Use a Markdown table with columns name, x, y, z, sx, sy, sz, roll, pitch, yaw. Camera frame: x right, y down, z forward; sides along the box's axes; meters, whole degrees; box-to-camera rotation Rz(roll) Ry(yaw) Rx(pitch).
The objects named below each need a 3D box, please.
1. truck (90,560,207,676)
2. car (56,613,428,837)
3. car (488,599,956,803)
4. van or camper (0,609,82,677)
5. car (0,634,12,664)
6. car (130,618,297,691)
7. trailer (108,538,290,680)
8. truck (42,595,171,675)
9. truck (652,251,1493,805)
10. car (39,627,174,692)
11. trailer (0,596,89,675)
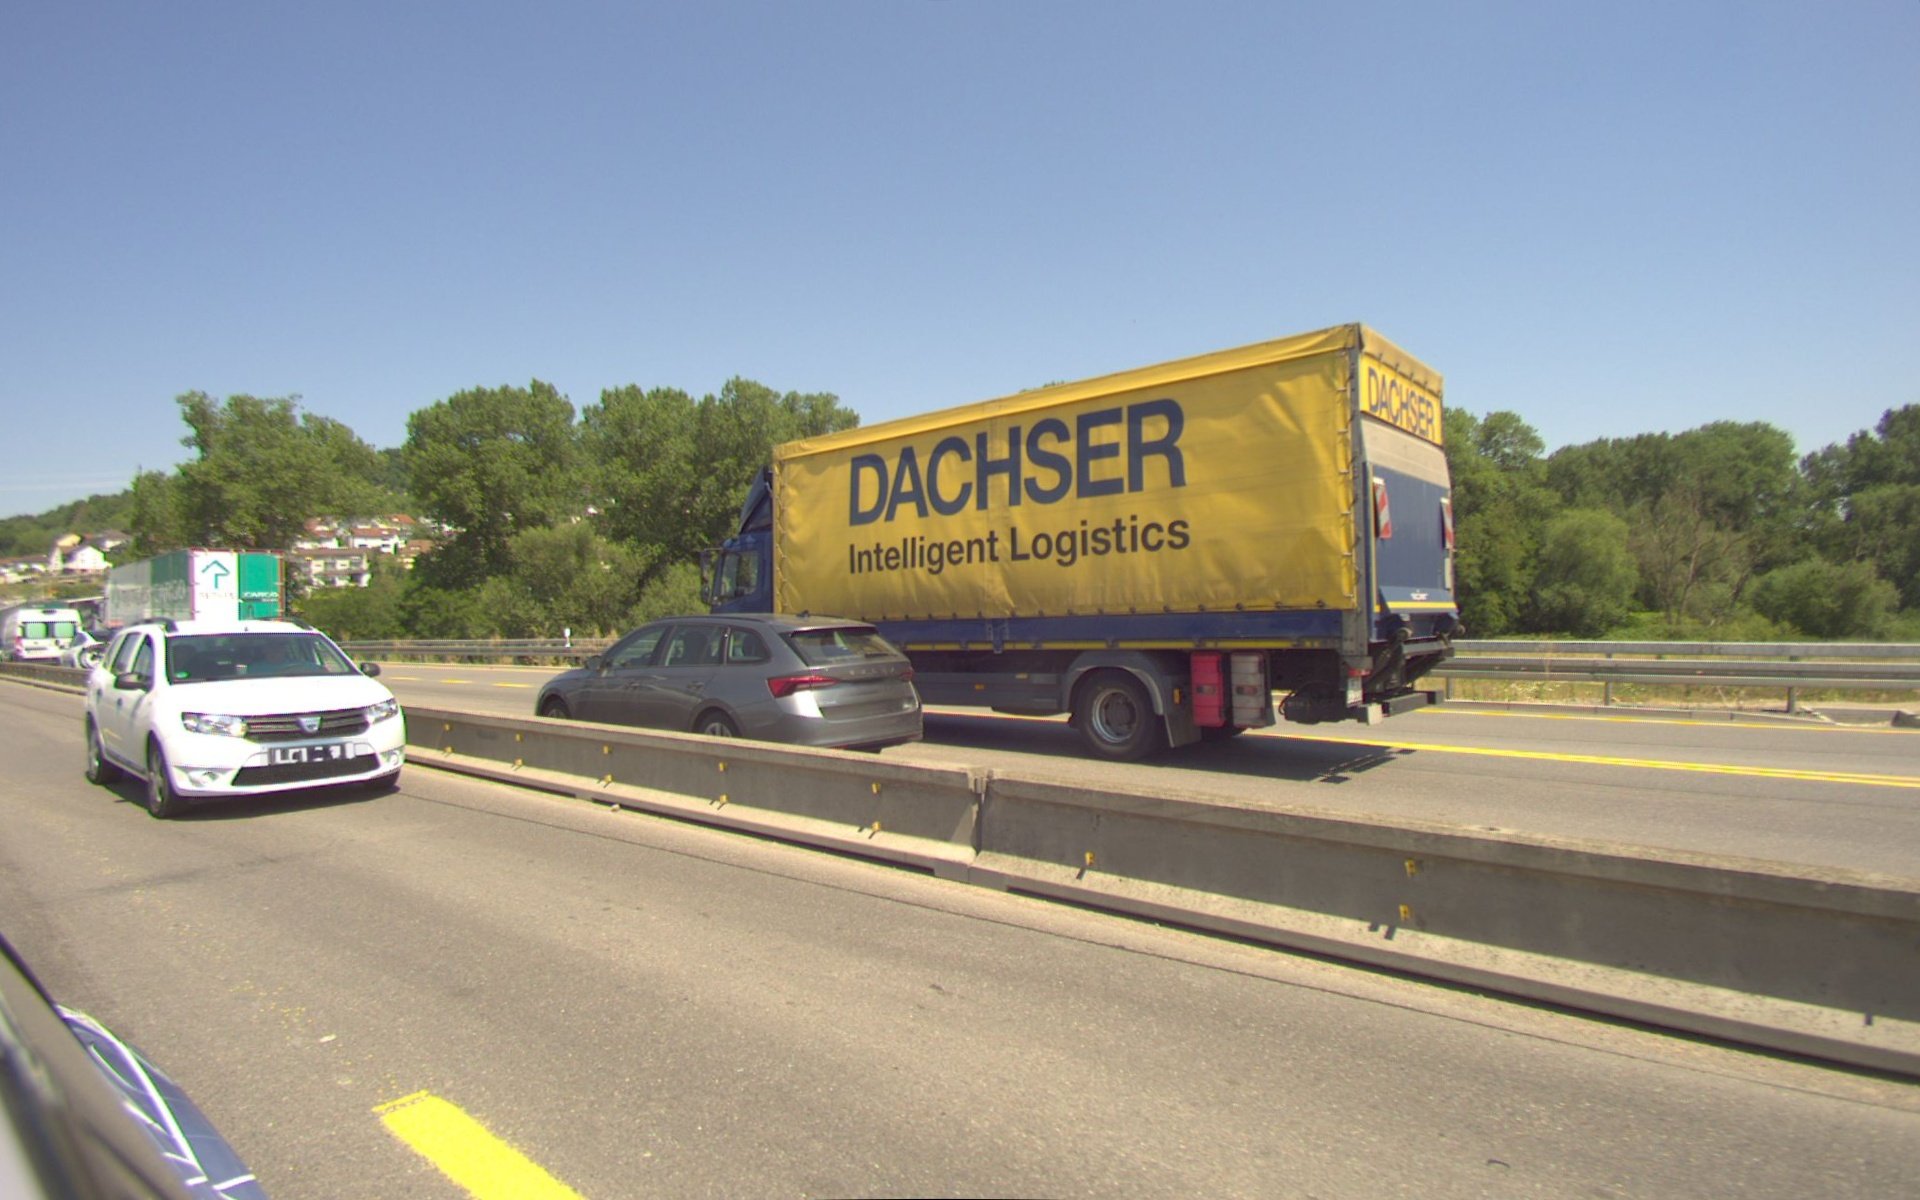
| name | x | y | z | sx | sy | sz | roll | pitch | yaw |
| --- | --- | --- | --- | --- | --- | --- | --- | --- | --- |
| truck | -33.763 | 0.834 | 42.031 | 6.222 | 4.426 | 2.777 | -4 | -3 | 41 |
| car | -6.766 | 0.933 | 9.302 | 4.704 | 1.542 | 1.799 | -2 | -1 | 42 |
| car | -2.493 | 0.856 | 9.797 | 4.900 | 1.505 | 1.840 | -2 | -4 | 40 |
| van or camper | -37.691 | 1.776 | 41.059 | 6.529 | 2.531 | 2.196 | -4 | -3 | 41 |
| car | -50.578 | 2.578 | 52.168 | 4.972 | 1.510 | 1.973 | -4 | -4 | 41 |
| car | -16.625 | 1.182 | 22.443 | 5.121 | 1.443 | 1.863 | -2 | -4 | 41 |
| trailer | -28.188 | 0.520 | 37.099 | 13.162 | 4.464 | 2.785 | -3 | -2 | 42 |
| truck | -45.184 | 1.867 | 53.486 | 8.341 | 3.793 | 2.881 | -4 | -2 | 33 |
| truck | 0.380 | -0.428 | 12.013 | 10.074 | 4.184 | 2.773 | -2 | -1 | 41 |
| car | -26.496 | 1.857 | 31.320 | 5.778 | 1.739 | 2.347 | -4 | -2 | 41 |
| trailer | -57.580 | 2.350 | 63.241 | 13.013 | 4.499 | 3.069 | -4 | -3 | 41 |
